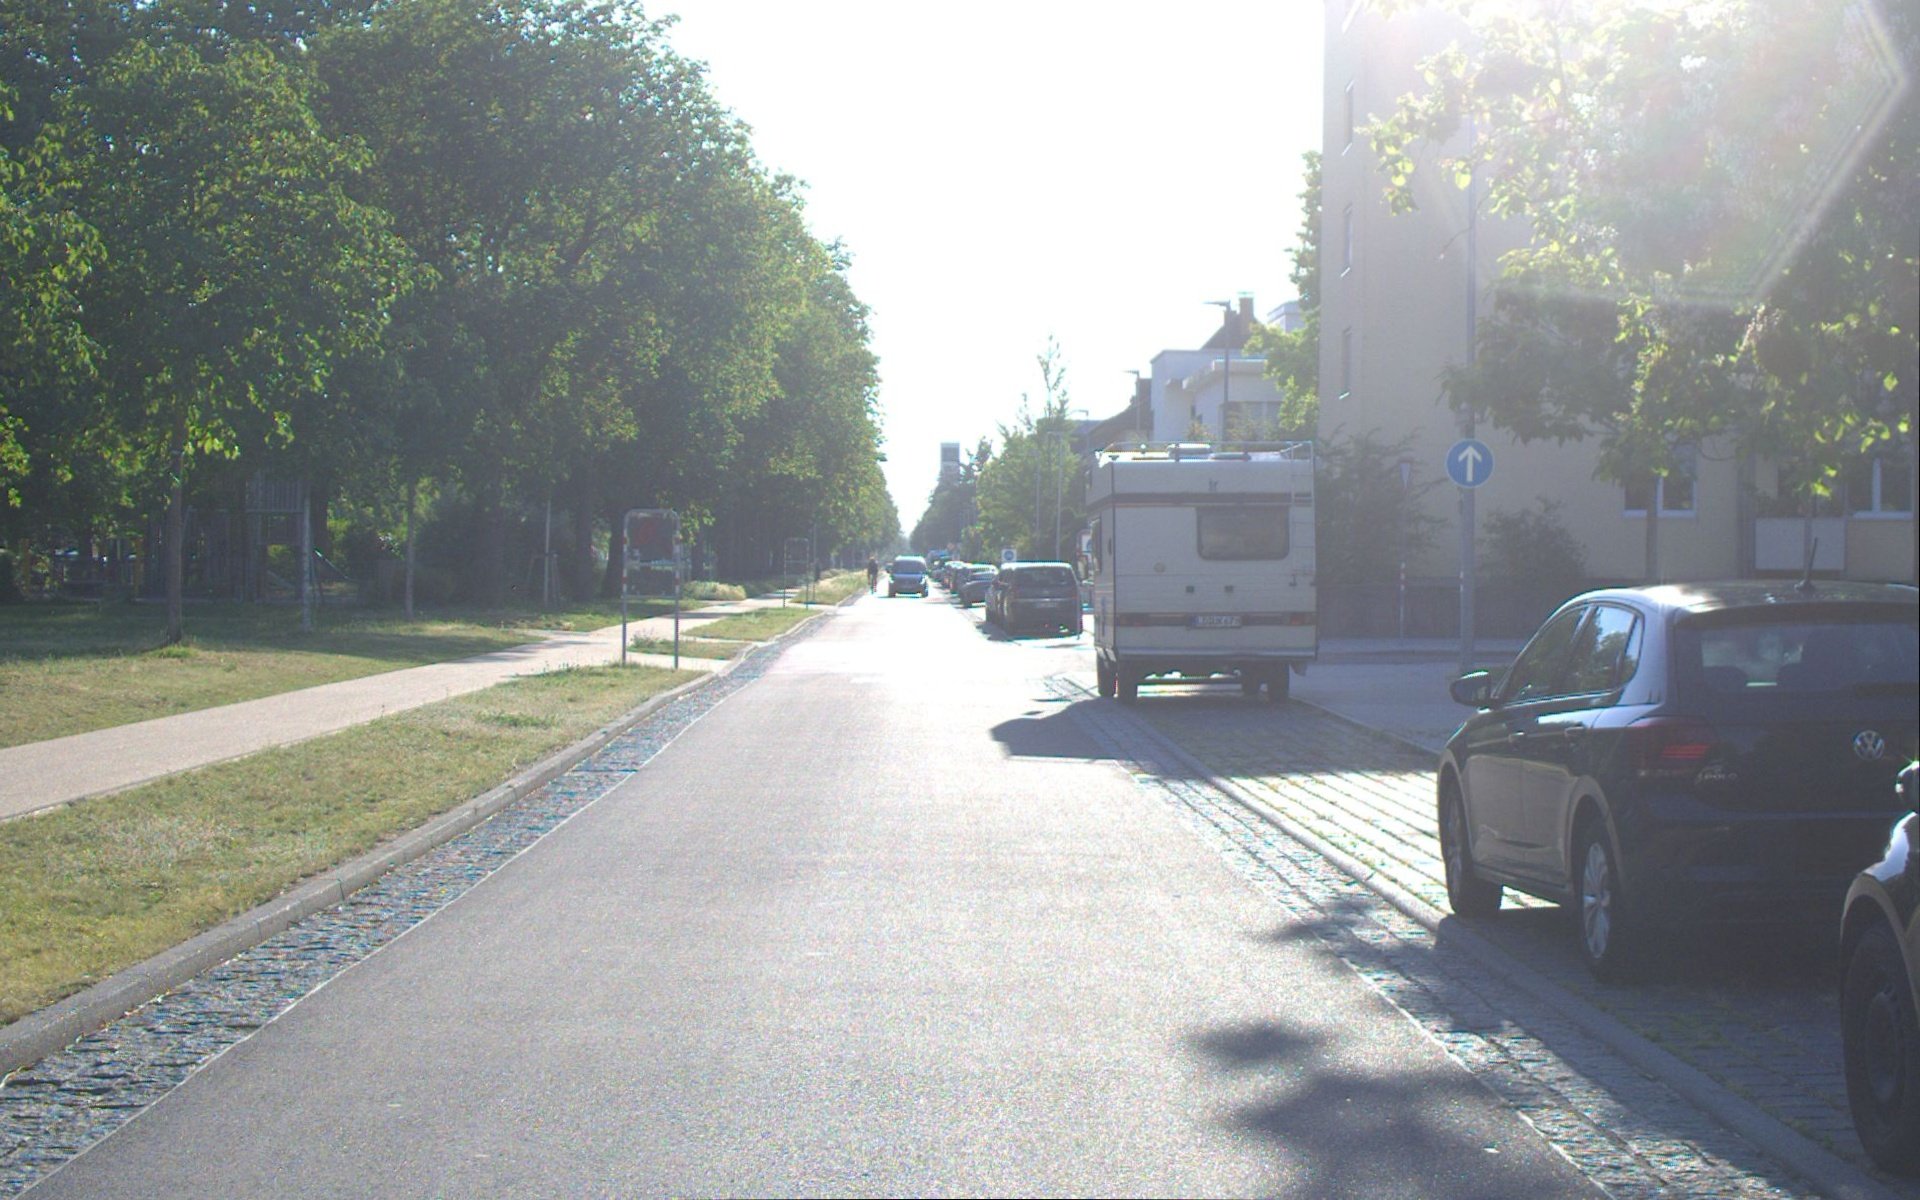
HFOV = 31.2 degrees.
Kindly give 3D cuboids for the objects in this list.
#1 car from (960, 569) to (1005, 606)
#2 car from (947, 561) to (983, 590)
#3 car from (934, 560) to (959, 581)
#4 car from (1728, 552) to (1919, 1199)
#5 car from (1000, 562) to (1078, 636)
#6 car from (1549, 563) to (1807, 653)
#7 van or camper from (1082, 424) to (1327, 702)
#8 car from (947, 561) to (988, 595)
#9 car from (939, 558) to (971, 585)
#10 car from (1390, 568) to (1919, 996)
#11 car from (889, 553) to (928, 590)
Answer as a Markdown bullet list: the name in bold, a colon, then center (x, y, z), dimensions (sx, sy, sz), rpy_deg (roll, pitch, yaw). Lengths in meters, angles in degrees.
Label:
- **car**: center (0.843, -0.501, 133.361), dimensions (1.626, 1.405, 4.249), rpy_deg (0, 0, -1)
- **car**: center (0.212, -1.165, 164.470), dimensions (1.626, 1.405, 4.249), rpy_deg (0, 0, -1)
- **car**: center (-0.941, -1.983, 233.324), dimensions (1.626, 1.405, 4.249), rpy_deg (0, 0, -1)
- **car**: center (3.061, 0.672, 7.294), dimensions (1.731, 1.545, 4.423), rpy_deg (0, 0, -2)
- **car**: center (1.805, -0.035, 79.884), dimensions (1.626, 1.663, 4.249), rpy_deg (0, 0, -1)
- **car**: center (12.589, 0.131, 60.509), dimensions (4.195, 1.525, 2.000), rpy_deg (0, 0, 4)
- **van or camper**: center (2.650, -0.356, 38.675), dimensions (2.234, 2.894, 5.673), rpy_deg (0, -1, -1)
- **car**: center (0.300, -0.937, 145.174), dimensions (1.626, 1.405, 4.249), rpy_deg (0, 0, -1)
- **car**: center (-0.268, -1.496, 181.223), dimensions (1.626, 1.405, 4.249), rpy_deg (0, 0, -1)
- **car**: center (2.954, 0.614, 13.878), dimensions (1.626, 1.459, 4.250), rpy_deg (0, 0, -4)
- **car**: center (-2.405, -1.315, 160.040), dimensions (1.825, 1.663, 4.249), rpy_deg (0, 0, -1)
